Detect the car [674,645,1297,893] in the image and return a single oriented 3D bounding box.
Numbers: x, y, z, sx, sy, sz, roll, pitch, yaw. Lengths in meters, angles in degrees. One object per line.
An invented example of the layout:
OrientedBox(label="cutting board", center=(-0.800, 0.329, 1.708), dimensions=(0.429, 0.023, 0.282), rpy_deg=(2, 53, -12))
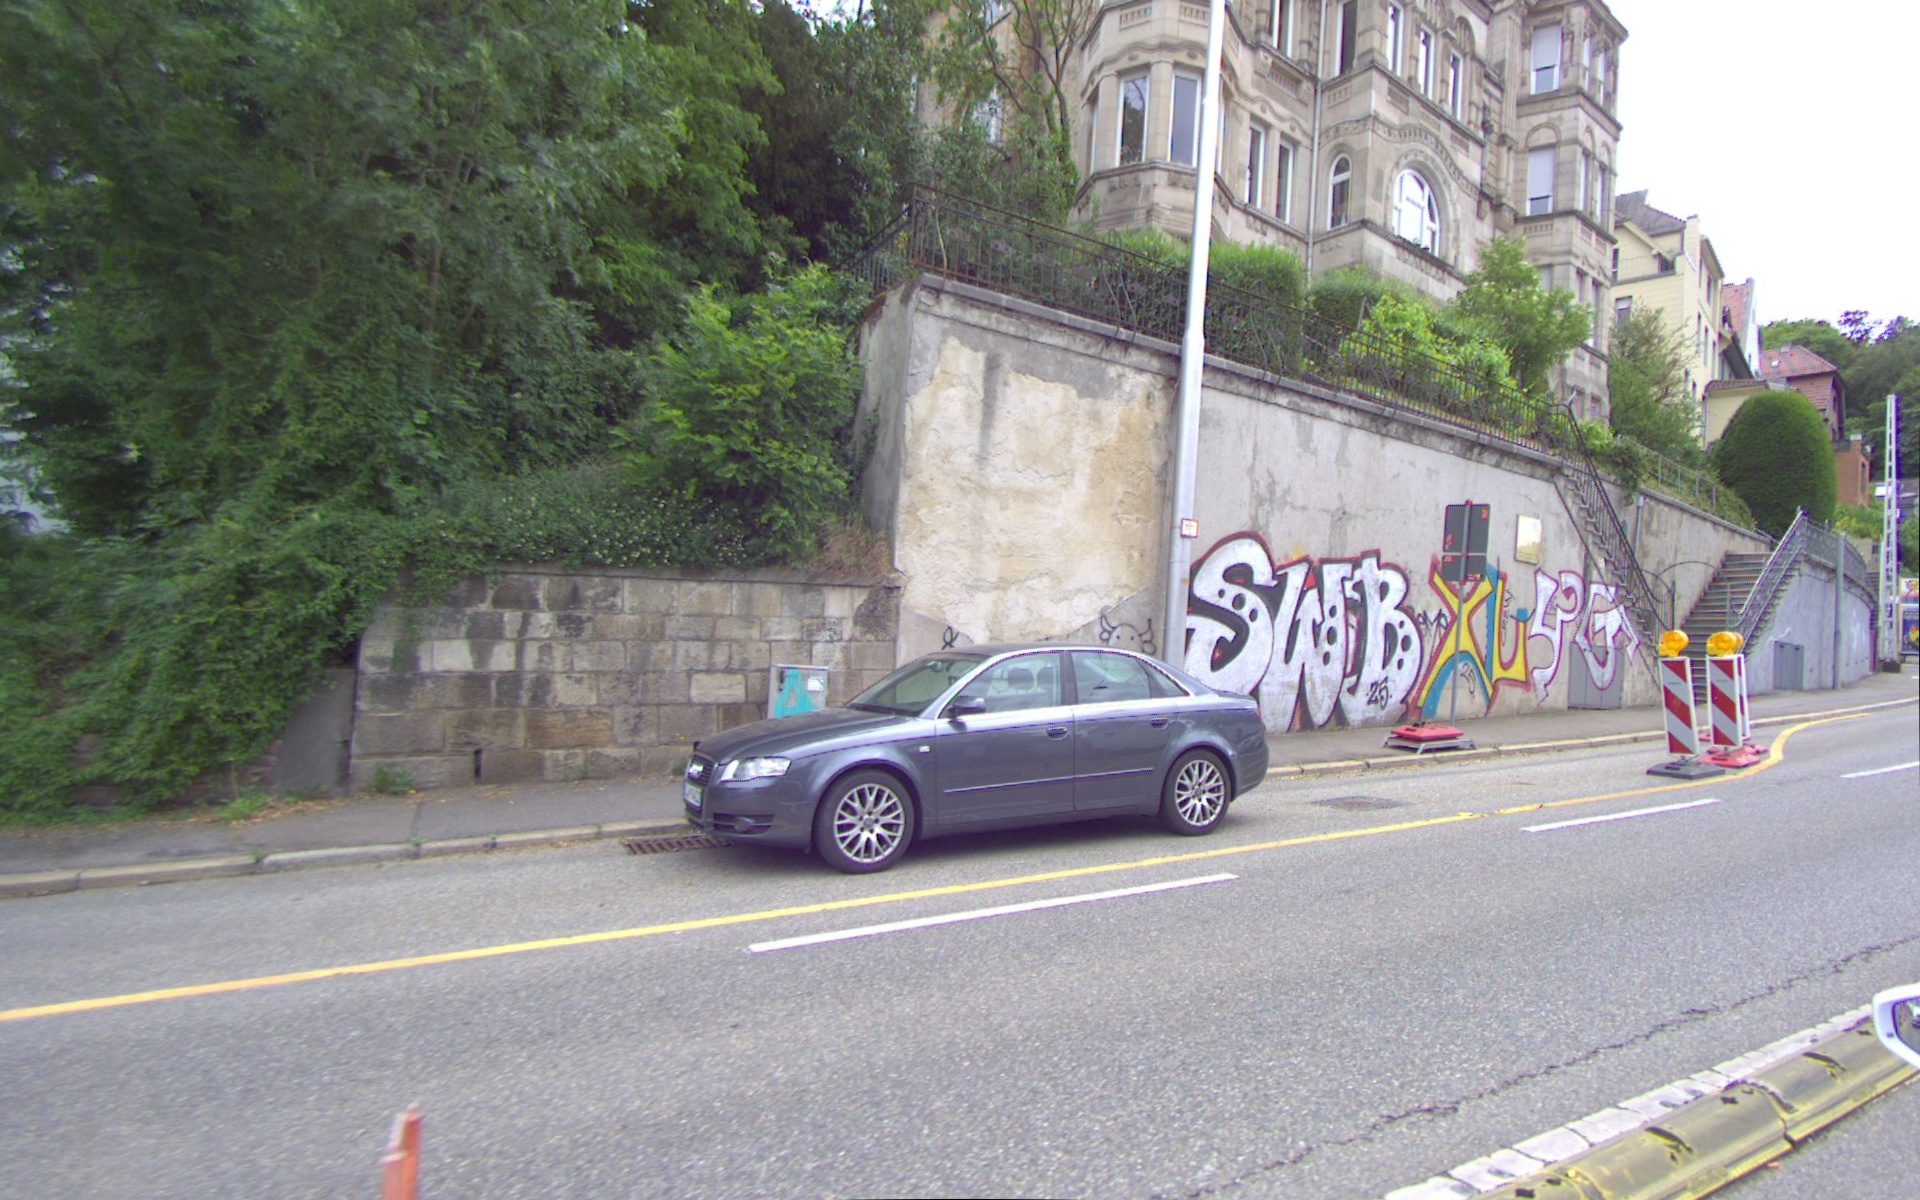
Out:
OrientedBox(label="car", center=(0.254, 1.036, 7.476), dimensions=(4.333, 1.391, 1.793), rpy_deg=(1, -3, -28))
